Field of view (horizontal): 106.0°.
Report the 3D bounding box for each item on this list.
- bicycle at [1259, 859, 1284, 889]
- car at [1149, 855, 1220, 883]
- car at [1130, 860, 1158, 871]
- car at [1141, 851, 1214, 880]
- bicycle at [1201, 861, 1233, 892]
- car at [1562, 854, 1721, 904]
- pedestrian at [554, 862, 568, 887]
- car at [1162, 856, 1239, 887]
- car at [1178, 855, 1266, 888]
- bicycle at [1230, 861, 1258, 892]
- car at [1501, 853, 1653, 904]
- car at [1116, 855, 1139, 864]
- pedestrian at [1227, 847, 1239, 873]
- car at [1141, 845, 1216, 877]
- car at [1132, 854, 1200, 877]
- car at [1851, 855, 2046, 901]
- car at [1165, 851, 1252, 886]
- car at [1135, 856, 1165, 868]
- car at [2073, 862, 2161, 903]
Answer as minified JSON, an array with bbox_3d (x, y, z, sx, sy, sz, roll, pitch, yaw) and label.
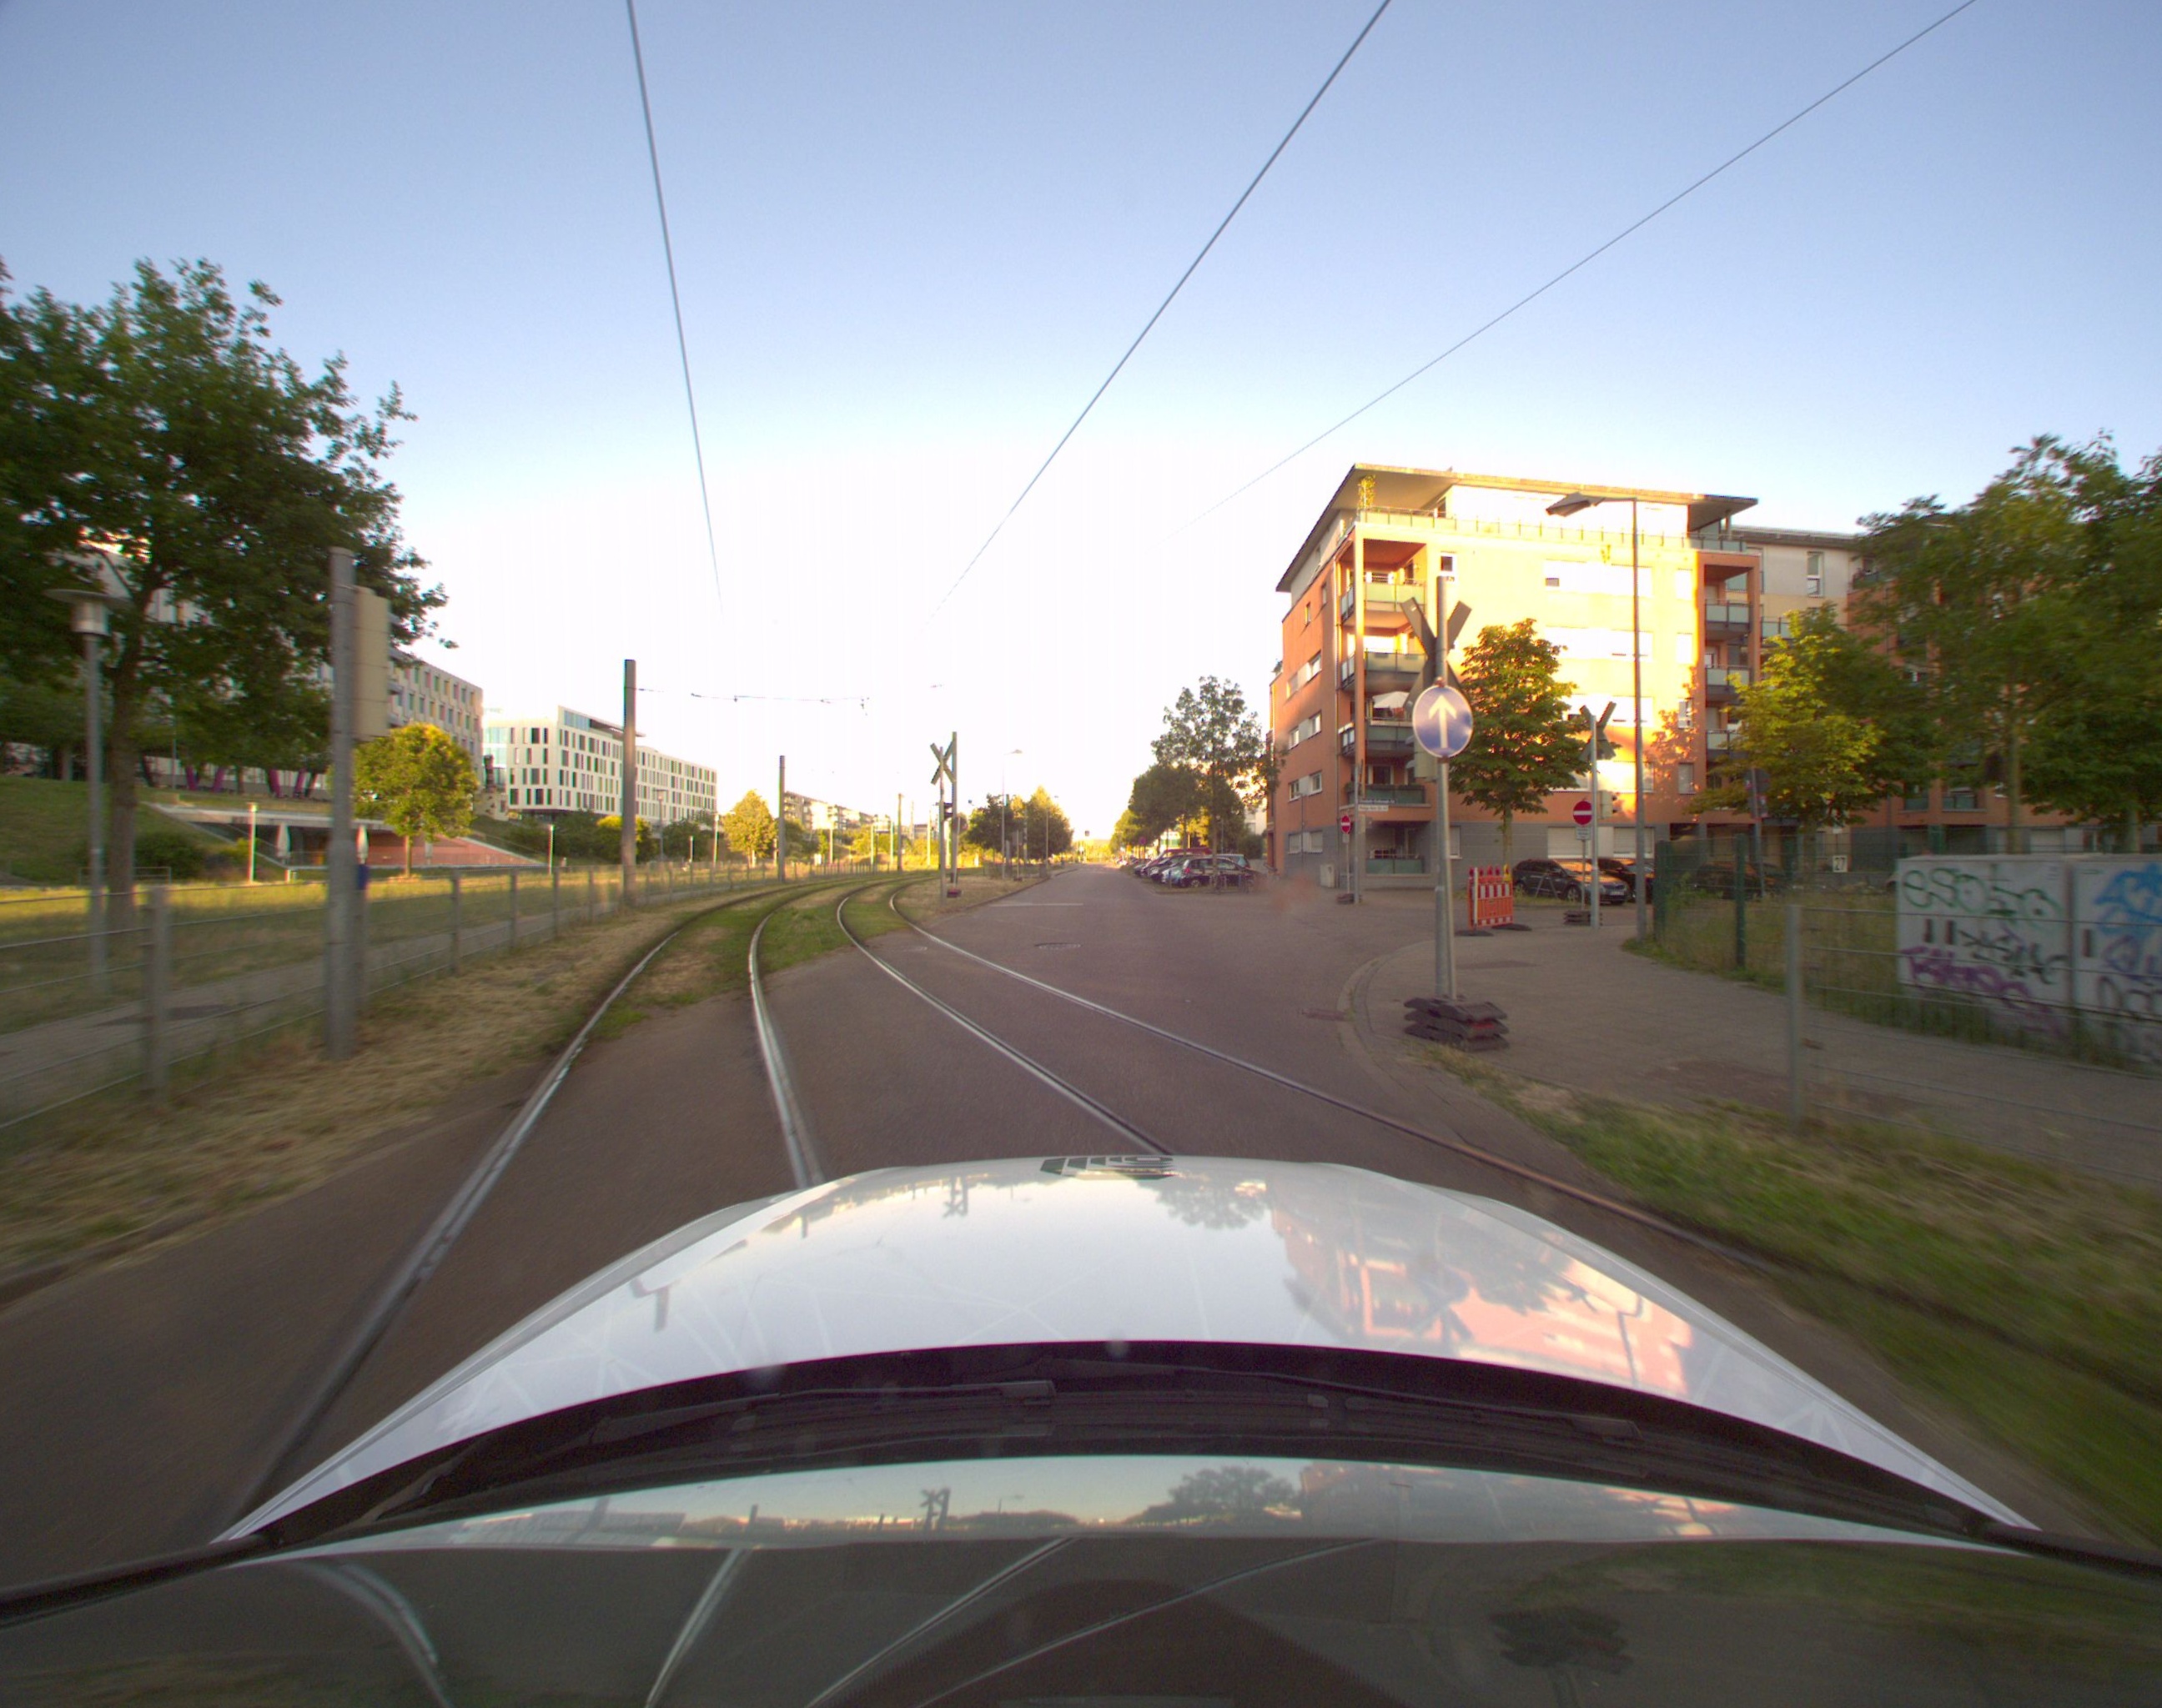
[{"bbox_3d":[7.800,0.817,33.419,0.527,1.126,1.962,1,1,0],"label":"bicycle"},{"bbox_3d":[5.723,0.851,45.242,3.760,1.496,1.539,0,-2,1],"label":"car"},{"bbox_3d":[8.611,1.573,111.413,3.791,1.508,1.678,0,0,-1],"label":"car"},{"bbox_3d":[5.859,0.702,49.785,4.200,1.569,1.793,-2,0,1],"label":"car"},{"bbox_3d":[5.518,0.895,33.097,0.716,1.152,1.892,-2,2,-9],"label":"bicycle"},{"bbox_3d":[19.718,0.819,28.959,1.992,1.594,4.802,0,0,-7],"label":"car"},{"bbox_3d":[-43.579,1.733,68.286,0.614,2.082,0.790,2,-1,0],"label":"pedestrian"},{"bbox_3d":[6.205,0.888,42.637,3.862,1.569,1.620,0,0,1],"label":"car"},{"bbox_3d":[6.462,0.790,37.493,3.741,1.473,1.611,0,0,-4],"label":"car"},{"bbox_3d":[6.593,0.893,32.990,0.677,1.152,1.927,-2,1,0],"label":"bicycle"},{"bbox_3d":[17.008,0.791,28.267,1.992,1.594,4.802,1,0,-7],"label":"car"},{"bbox_3d":[9.018,1.105,159.209,4.467,1.596,2.001,-1,0,2],"label":"car"},{"bbox_3d":[10.618,0.417,56.960,0.666,1.743,0.699,0,0,1],"label":"pedestrian"},{"bbox_3d":[6.574,0.453,55.125,4.900,2.117,2.018,0,0,2],"label":"car"},{"bbox_3d":[6.006,0.799,57.791,4.653,1.556,1.811,0,0,0],"label":"car"},{"bbox_3d":[32.785,0.861,31.029,1.994,1.594,4.798,0,0,-10],"label":"car"},{"bbox_3d":[6.195,0.678,39.852,4.035,1.569,1.673,-2,0,1],"label":"car"},{"bbox_3d":[9.170,1.099,108.666,3.791,1.508,1.678,0,0,-1],"label":"car"},{"bbox_3d":[44.115,1.136,32.893,1.994,1.594,4.798,0,0,-10],"label":"car"}]
